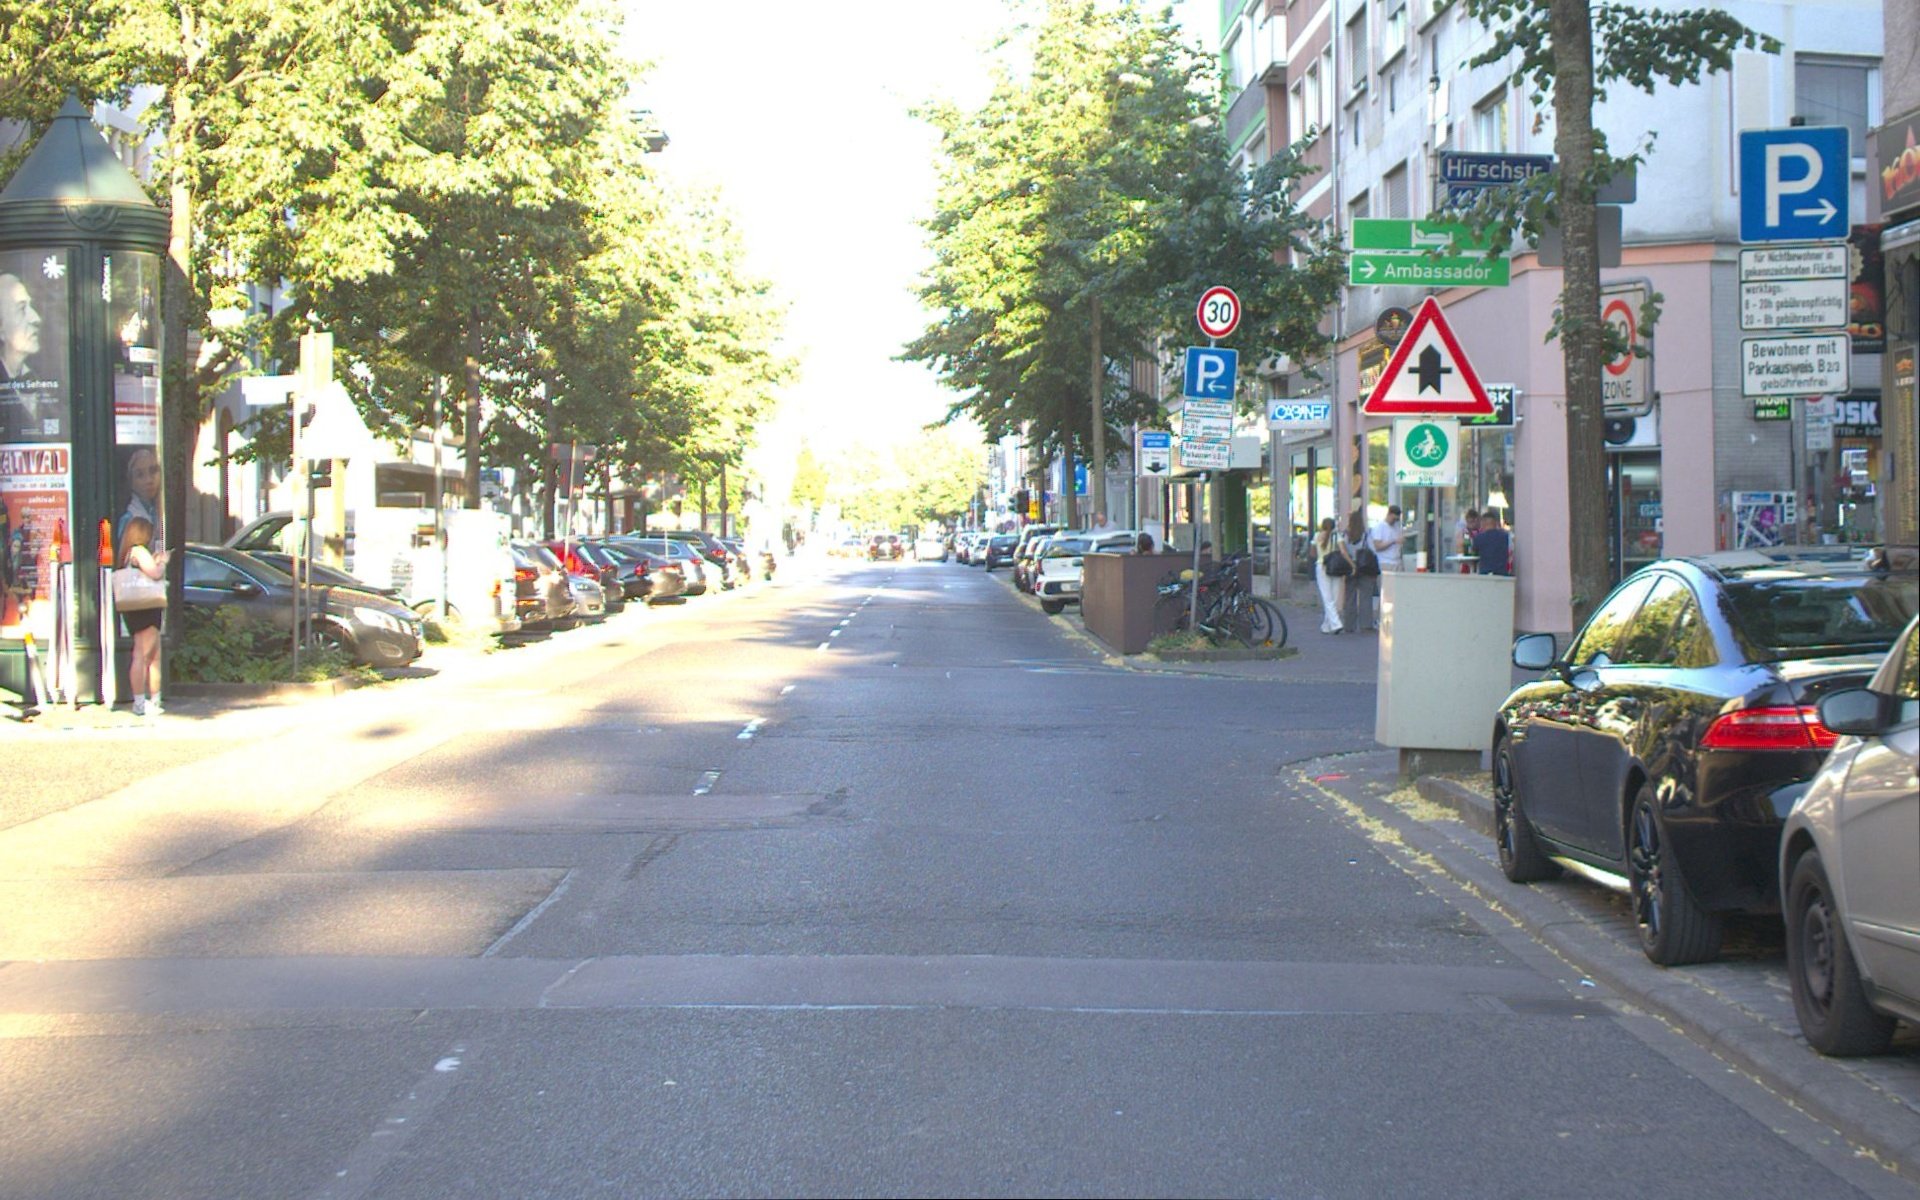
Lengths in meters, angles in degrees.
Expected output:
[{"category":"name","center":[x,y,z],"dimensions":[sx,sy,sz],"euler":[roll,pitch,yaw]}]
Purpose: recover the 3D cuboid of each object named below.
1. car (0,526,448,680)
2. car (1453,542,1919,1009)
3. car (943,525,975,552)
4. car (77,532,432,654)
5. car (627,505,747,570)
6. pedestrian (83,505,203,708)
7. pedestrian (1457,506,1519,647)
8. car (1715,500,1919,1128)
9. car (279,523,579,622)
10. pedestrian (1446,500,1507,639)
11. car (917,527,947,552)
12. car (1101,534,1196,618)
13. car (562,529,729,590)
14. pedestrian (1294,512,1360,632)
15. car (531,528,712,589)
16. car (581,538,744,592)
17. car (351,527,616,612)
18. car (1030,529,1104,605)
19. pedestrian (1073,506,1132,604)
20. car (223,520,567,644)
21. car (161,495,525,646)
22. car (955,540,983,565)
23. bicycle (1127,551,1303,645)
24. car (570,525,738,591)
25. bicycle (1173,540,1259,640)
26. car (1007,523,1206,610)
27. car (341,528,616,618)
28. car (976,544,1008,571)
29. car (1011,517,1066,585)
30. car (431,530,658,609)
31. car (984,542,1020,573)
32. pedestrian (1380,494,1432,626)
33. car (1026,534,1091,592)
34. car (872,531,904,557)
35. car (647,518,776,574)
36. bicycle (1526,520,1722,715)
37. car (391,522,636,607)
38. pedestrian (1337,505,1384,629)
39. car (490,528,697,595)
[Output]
[{"category":"car","center":[-7.787,0.016,36.175],"dimensions":[4.546,1.536,1.811],"euler":[0,1,-1]},{"category":"car","center":[3.171,0.521,13.214],"dimensions":[1.785,1.370,4.524],"euler":[-3,1,-1]},{"category":"car","center":[-0.044,-3.514,196.923],"dimensions":[1.752,1.535,3.304],"euler":[-1,1,1]},{"category":"car","center":[-8.474,-0.088,41.526],"dimensions":[3.791,1.387,2.043],"euler":[1,0,3]},{"category":"car","center":[-10.490,-2.403,132.186],"dimensions":[4.442,2.426,1.919],"euler":[0,1,0]},{"category":"pedestrian","center":[-6.848,0.044,28.848],"dimensions":[0.710,1.680,0.833],"euler":[0,1,9]},{"category":"pedestrian","center":[6.066,-0.272,39.492],"dimensions":[0.567,1.578,0.663],"euler":[-2,2,0]},{"category":"car","center":[3.232,0.511,8.666],"dimensions":[1.687,1.569,4.013],"euler":[-3,1,0]},{"category":"car","center":[-8.353,-0.436,54.302],"dimensions":[4.442,1.501,1.845],"euler":[1,1,0]},{"category":"pedestrian","center":[6.046,-0.366,40.255],"dimensions":[0.567,1.594,0.663],"euler":[-2,2,0]},{"category":"car","center":[-1.664,-3.572,204.052],"dimensions":[1.721,1.470,3.304],"euler":[-1,1,1]},{"category":"car","center":[3.287,-0.442,60.470],"dimensions":[1.543,1.428,3.678],"euler":[0,1,1]},{"category":"car","center":[-8.460,-1.098,92.623],"dimensions":[4.304,1.592,1.919],"euler":[1,1,0]},{"category":"pedestrian","center":[4.976,-0.386,46.566],"dimensions":[0.797,1.620,0.911],"euler":[0,1,12]},{"category":"car","center":[-8.667,-1.066,88.247],"dimensions":[4.442,1.517,1.919],"euler":[1,1,0]},{"category":"car","center":[-8.446,-1.011,97.871],"dimensions":[4.442,1.494,1.919],"euler":[1,1,0]},{"category":"car","center":[-8.449,-0.553,61.154],"dimensions":[4.442,1.453,1.859],"euler":[1,1,0]},{"category":"car","center":[2.266,-0.712,73.108],"dimensions":[1.513,1.572,3.218],"euler":[0,1,1]},{"category":"pedestrian","center":[2.815,-0.894,67.908],"dimensions":[0.916,1.919,1.018],"euler":[1,1,-10]},{"category":"car","center":[-8.053,-0.270,49.283],"dimensions":[4.571,1.692,2.060],"euler":[1,1,0]},{"category":"car","center":[-8.288,-0.405,46.465],"dimensions":[4.571,1.955,1.991],"euler":[0,1,0]},{"category":"car","center":[0.500,-2.563,185.549],"dimensions":[1.513,1.294,3.304],"euler":[0,1,1]},{"category":"bicycle","center":[2.990,-0.033,40.332],"dimensions":[1.958,1.070,0.704],"euler":[1,1,31]},{"category":"car","center":[-8.399,-1.156,94.749],"dimensions":[4.442,1.753,1.919],"euler":[1,1,0]},{"category":"bicycle","center":[3.123,-0.134,41.791],"dimensions":[0.598,1.173,1.844],"euler":[0,1,19]},{"category":"car","center":[2.785,-0.653,64.881],"dimensions":[1.674,1.583,3.814],"euler":[1,2,42]},{"category":"car","center":[-8.211,-0.469,58.849],"dimensions":[4.442,1.479,1.809],"euler":[1,1,0]},{"category":"car","center":[1.529,-2.031,162.865],"dimensions":[1.513,1.259,3.304],"euler":[0,1,1]},{"category":"car","center":[2.201,-1.379,96.897],"dimensions":[1.513,1.858,4.235],"euler":[0,1,1]},{"category":"car","center":[-8.533,-0.637,70.855],"dimensions":[4.442,1.562,1.919],"euler":[1,1,0]},{"category":"car","center":[1.770,-1.802,144.501],"dimensions":[1.513,1.271,3.304],"euler":[0,1,1]},{"category":"pedestrian","center":[6.135,-0.561,47.308],"dimensions":[0.698,1.798,0.891],"euler":[0,1,8]},{"category":"car","center":[2.424,-0.916,85.188],"dimensions":[1.513,1.401,3.837],"euler":[0,1,1]},{"category":"car","center":[-4.282,-3.344,204.915],"dimensions":[1.752,1.535,3.304],"euler":[-1,1,1]},{"category":"car","center":[-8.822,-1.919,122.155],"dimensions":[4.442,1.953,1.919],"euler":[0,1,0]},{"category":"bicycle","center":[4.007,0.092,20.888],"dimensions":[0.778,1.108,1.899],"euler":[-2,1,0]},{"category":"car","center":[-8.556,-0.693,66.140],"dimensions":[4.442,1.562,1.919],"euler":[1,1,0]},{"category":"pedestrian","center":[5.485,-0.460,47.091],"dimensions":[0.631,1.674,0.891],"euler":[0,1,6]},{"category":"car","center":[-8.227,-0.877,77.375],"dimensions":[4.442,1.443,1.919],"euler":[1,1,0]}]
